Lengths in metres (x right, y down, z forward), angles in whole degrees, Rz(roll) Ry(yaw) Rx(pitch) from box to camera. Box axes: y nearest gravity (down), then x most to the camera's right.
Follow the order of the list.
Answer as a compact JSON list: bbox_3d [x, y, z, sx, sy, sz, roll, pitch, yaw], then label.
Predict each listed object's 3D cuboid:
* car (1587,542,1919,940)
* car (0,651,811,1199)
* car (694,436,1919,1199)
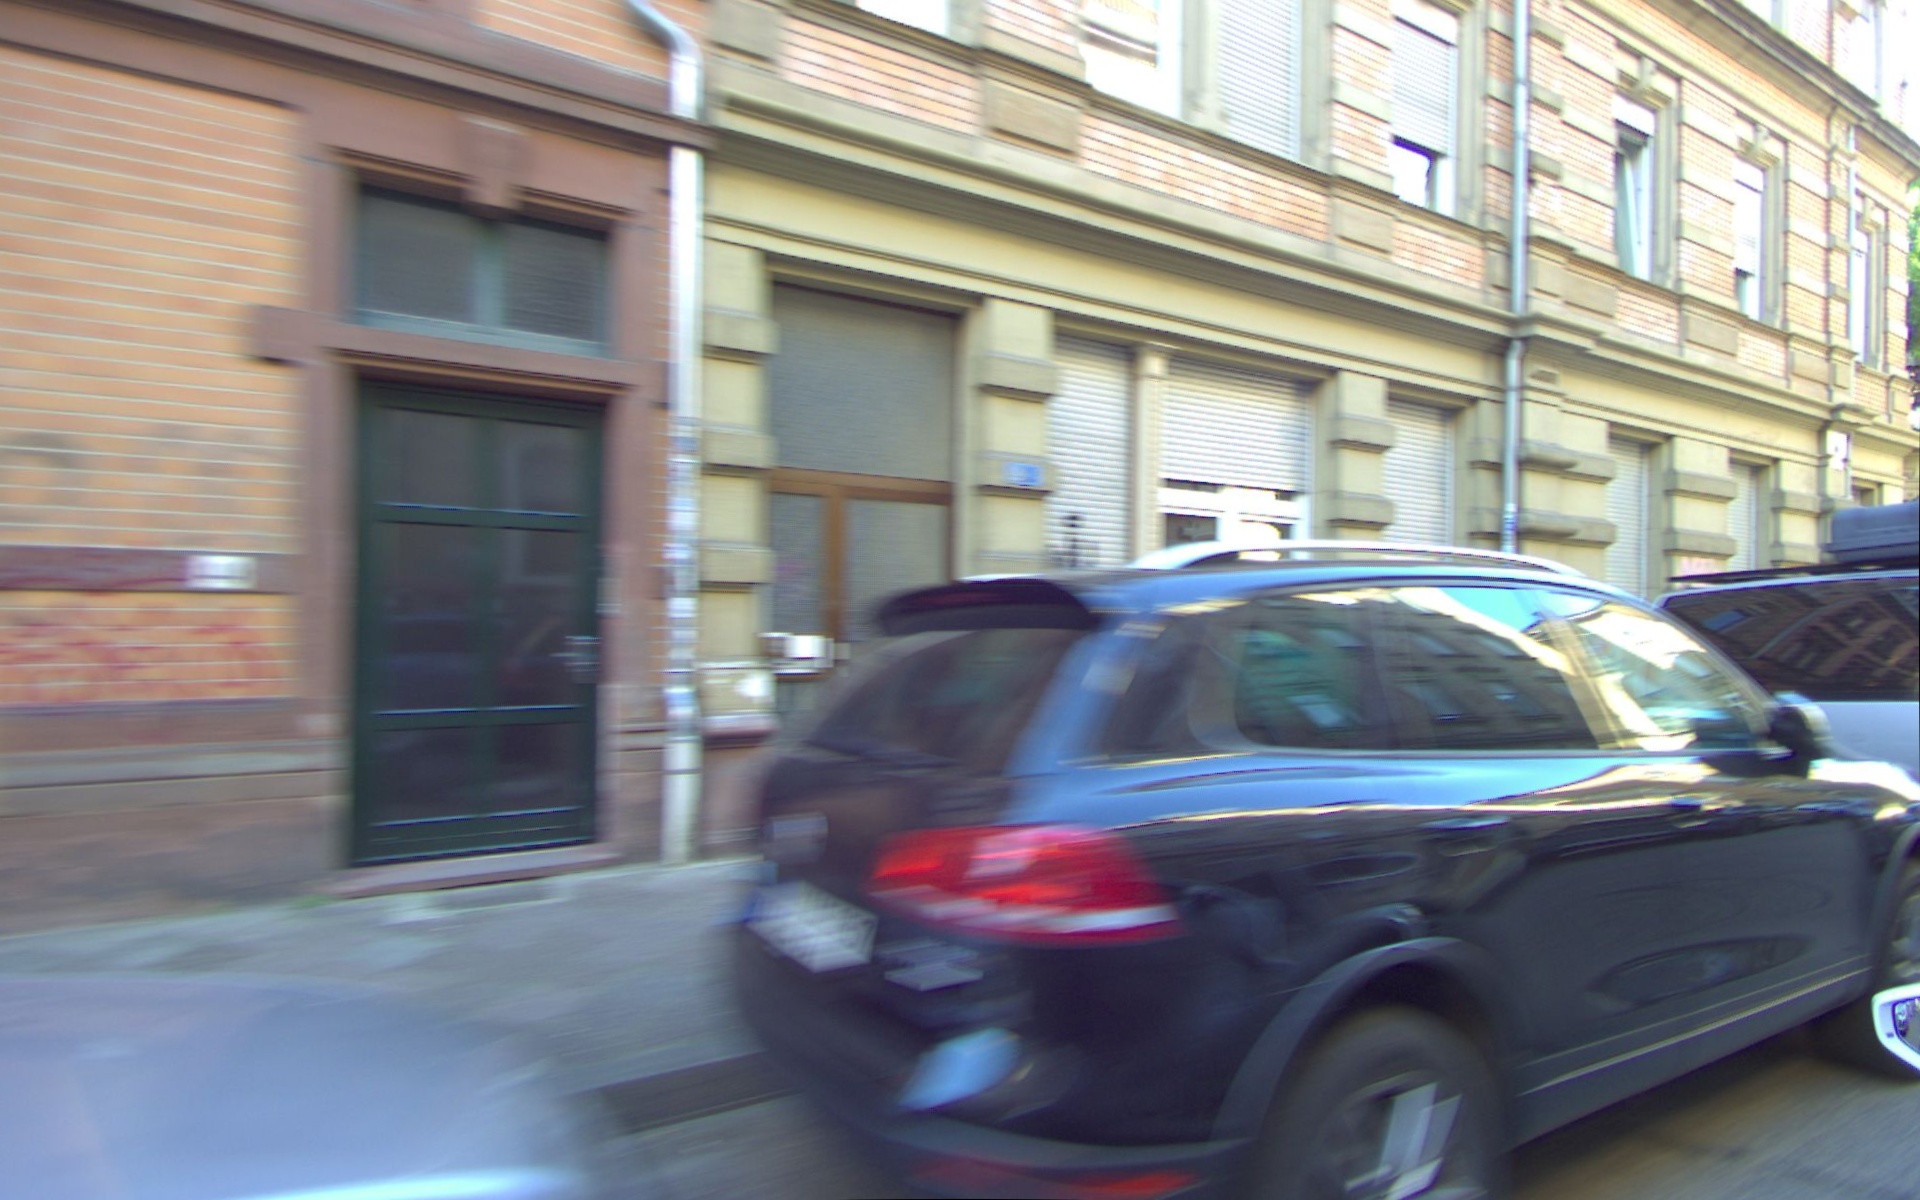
[{"bbox_3d":[6.091,0.682,6.159,4.554,1.808,1.883,1,0,-30],"label":"car"},{"bbox_3d":[-2.323,0.791,0.950,3.954,1.331,1.690,2,2,-31],"label":"car"},{"bbox_3d":[1.621,0.622,3.376,4.553,1.646,1.779,1,0,-30],"label":"car"}]
